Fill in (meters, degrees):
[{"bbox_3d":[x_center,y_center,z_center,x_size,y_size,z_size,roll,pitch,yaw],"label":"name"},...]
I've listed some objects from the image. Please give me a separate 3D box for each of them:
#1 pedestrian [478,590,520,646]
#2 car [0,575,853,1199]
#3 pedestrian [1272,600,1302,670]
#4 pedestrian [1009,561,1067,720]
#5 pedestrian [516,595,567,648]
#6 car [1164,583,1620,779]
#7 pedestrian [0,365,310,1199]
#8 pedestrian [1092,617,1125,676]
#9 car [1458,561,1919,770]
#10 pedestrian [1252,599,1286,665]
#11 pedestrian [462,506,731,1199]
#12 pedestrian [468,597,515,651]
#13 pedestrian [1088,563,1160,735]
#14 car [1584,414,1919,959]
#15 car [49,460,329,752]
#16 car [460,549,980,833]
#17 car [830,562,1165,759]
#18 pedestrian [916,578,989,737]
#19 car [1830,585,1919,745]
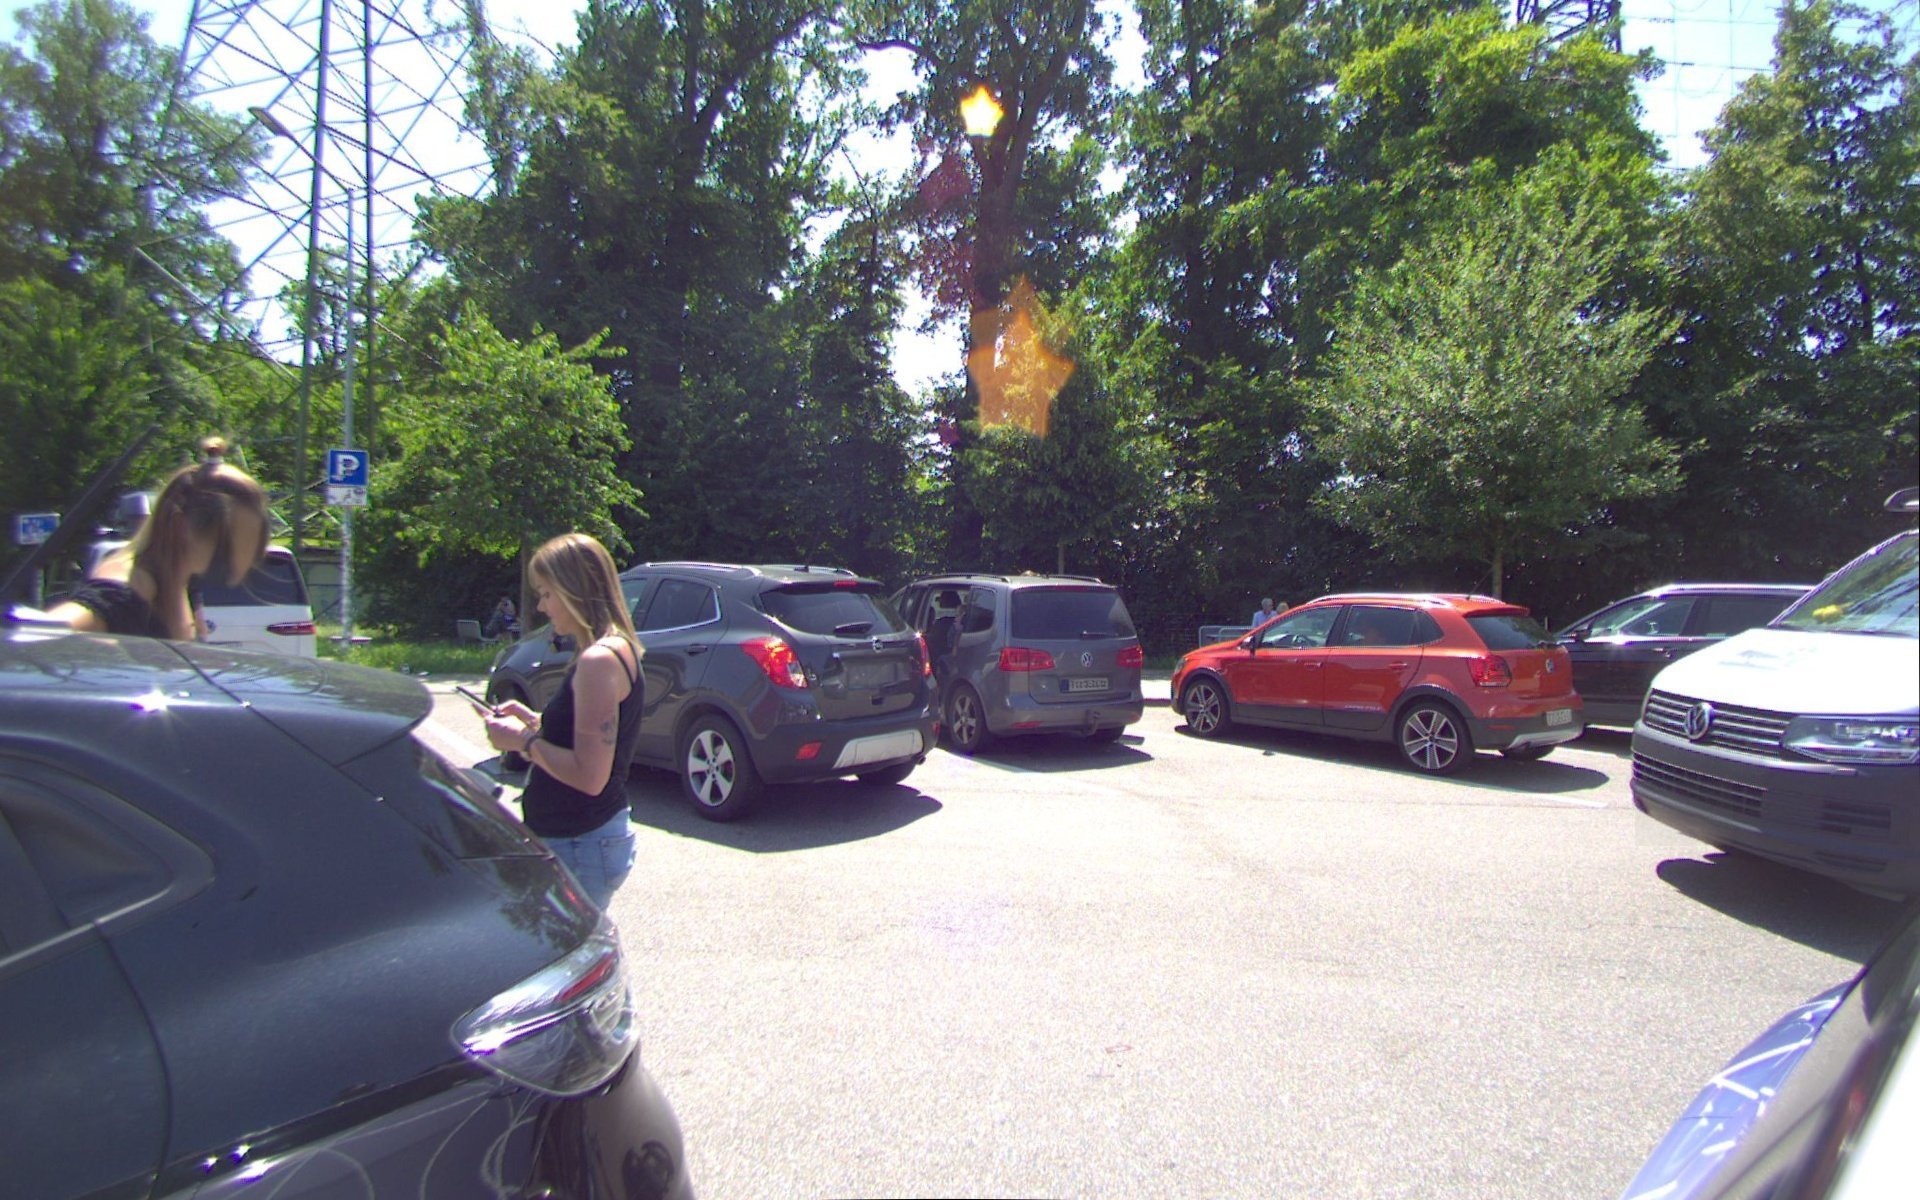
[{"bbox_3d":[-11.138,0.429,24.475,0.539,1.318,0.758,0,0,37],"label":"pedestrian"},{"bbox_3d":[-2.033,0.725,0.765,1.776,1.476,3.628,0,0,43],"label":"car"},{"bbox_3d":[5.768,0.607,17.868,0.348,1.207,0.367,0,0,-20],"label":"pedestrian"},{"bbox_3d":[0.882,0.441,11.438,0.500,1.744,0.438,0,0,-24],"label":"pedestrian"},{"bbox_3d":[-9.743,0.487,23.566,0.810,1.201,0.836,0,0,40],"label":"pedestrian"},{"bbox_3d":[3.877,0.614,9.666,1.588,1.485,3.751,1,0,-34],"label":"car"},{"bbox_3d":[-1.844,0.501,2.399,0.478,1.883,0.913,1,-1,-33],"label":"pedestrian"},{"bbox_3d":[2.317,0.718,15.760,0.494,0.890,0.512,1,-1,10],"label":"pedestrian"},{"bbox_3d":[7.119,0.514,9.713,1.679,1.637,3.863,1,0,-40],"label":"car"},{"bbox_3d":[5.805,0.597,19.030,0.433,1.207,0.414,0,0,-30],"label":"pedestrian"},{"bbox_3d":[-0.942,0.594,2.619,0.477,1.614,0.502,1,-1,-44],"label":"pedestrian"},{"bbox_3d":[-10.514,0.531,22.695,0.785,1.178,0.696,0,0,39],"label":"pedestrian"},{"bbox_3d":[1.709,0.491,10.591,0.576,1.744,0.483,0,0,-20],"label":"pedestrian"},{"bbox_3d":[6.209,0.357,4.694,5.336,2.131,1.842,1,1,4],"label":"car"},{"bbox_3d":[-8.387,0.036,10.796,1.897,2.400,4.963,1,-1,-43],"label":"car"},{"bbox_3d":[-2.026,0.515,7.885,4.147,1.637,1.812,1,0,40],"label":"car"},{"bbox_3d":[0.178,0.491,10.556,1.670,1.637,3.912,0,0,-30],"label":"car"},{"bbox_3d":[-0.078,0.547,10.049,0.511,1.516,0.560,0,0,-30],"label":"pedestrian"},{"bbox_3d":[10.298,0.614,8.858,1.813,1.473,3.776,1,0,-36],"label":"car"}]
